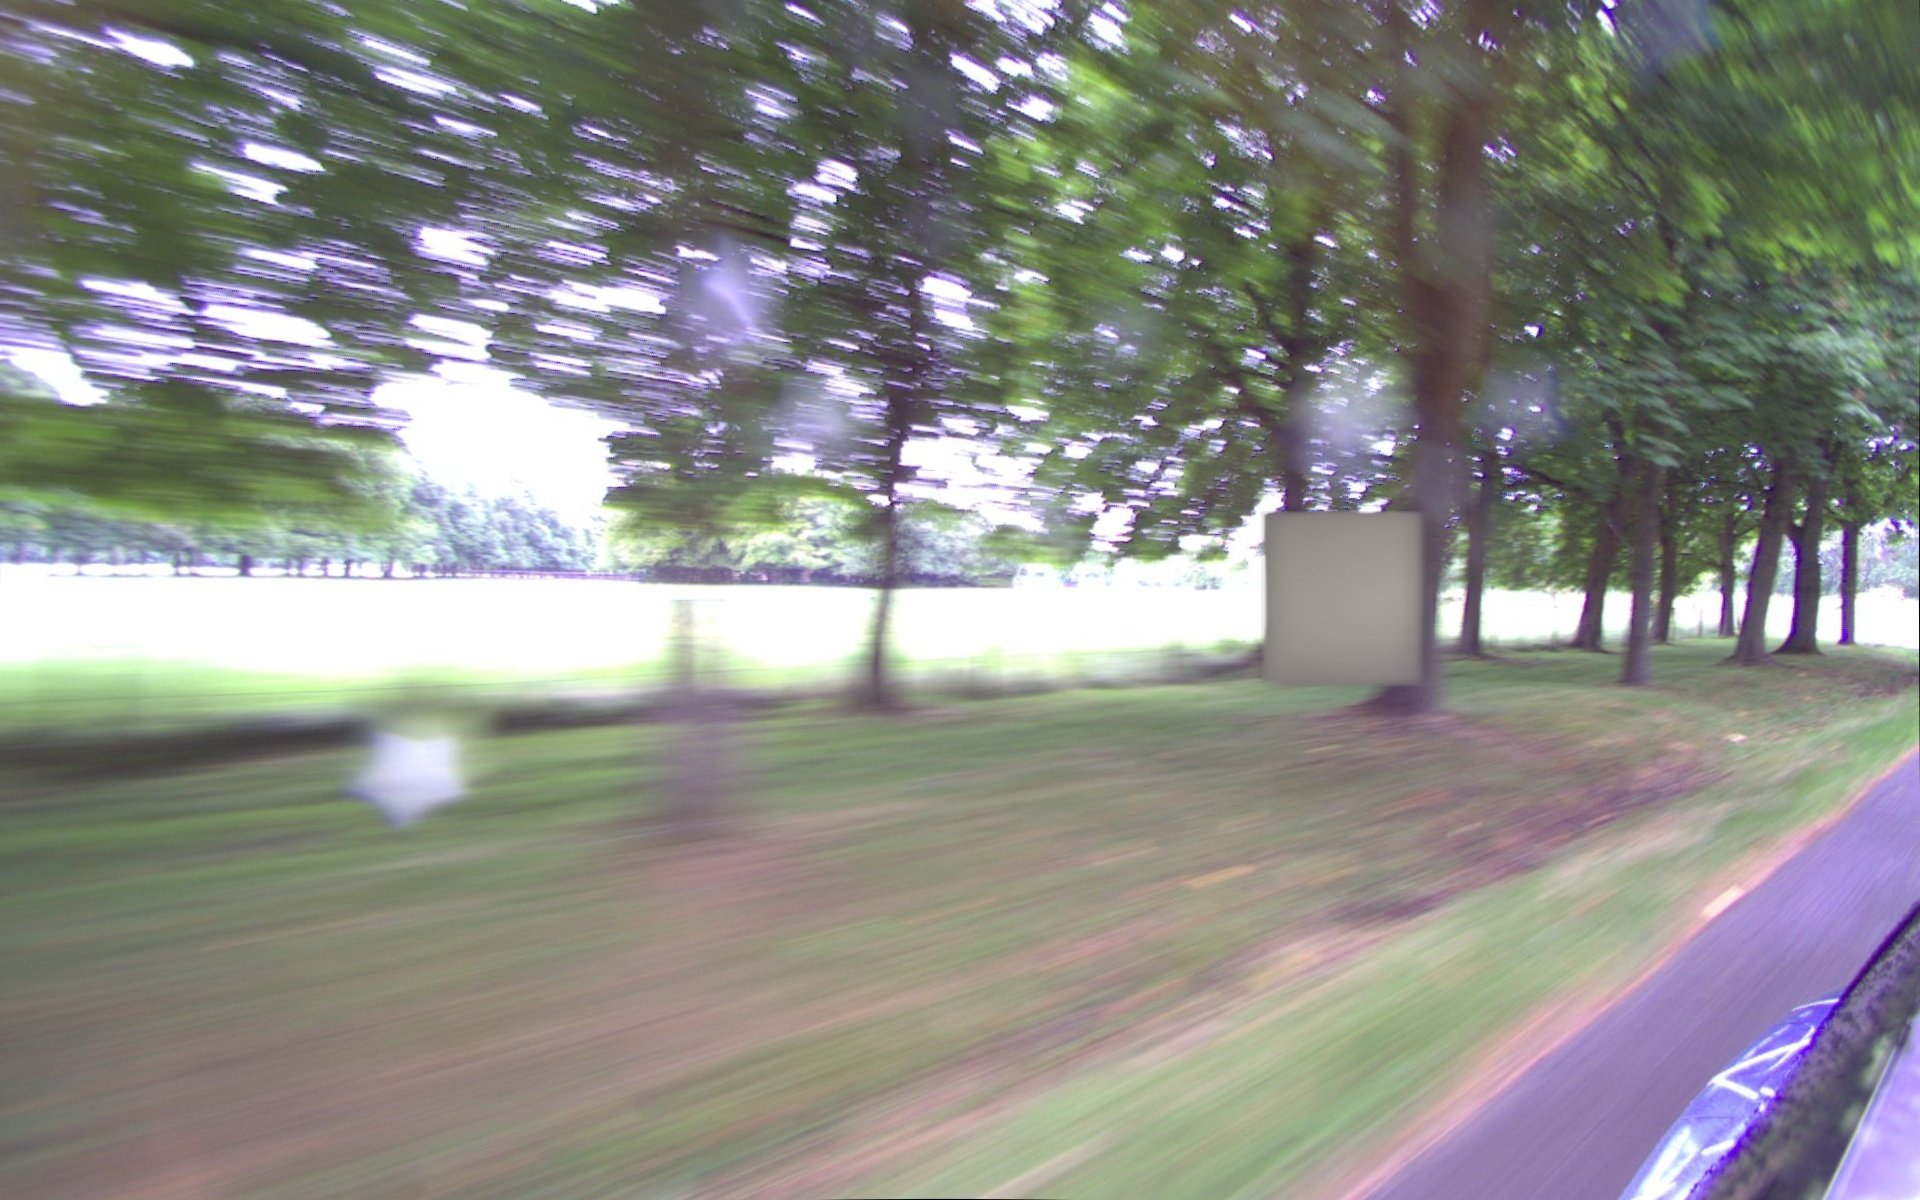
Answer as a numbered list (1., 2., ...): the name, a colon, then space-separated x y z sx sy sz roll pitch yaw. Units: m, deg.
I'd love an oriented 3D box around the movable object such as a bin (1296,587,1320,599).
1. movable object such as a bin: 47.549 -0.984 138.518 1.650 1.590 3.544 1 1 -8
